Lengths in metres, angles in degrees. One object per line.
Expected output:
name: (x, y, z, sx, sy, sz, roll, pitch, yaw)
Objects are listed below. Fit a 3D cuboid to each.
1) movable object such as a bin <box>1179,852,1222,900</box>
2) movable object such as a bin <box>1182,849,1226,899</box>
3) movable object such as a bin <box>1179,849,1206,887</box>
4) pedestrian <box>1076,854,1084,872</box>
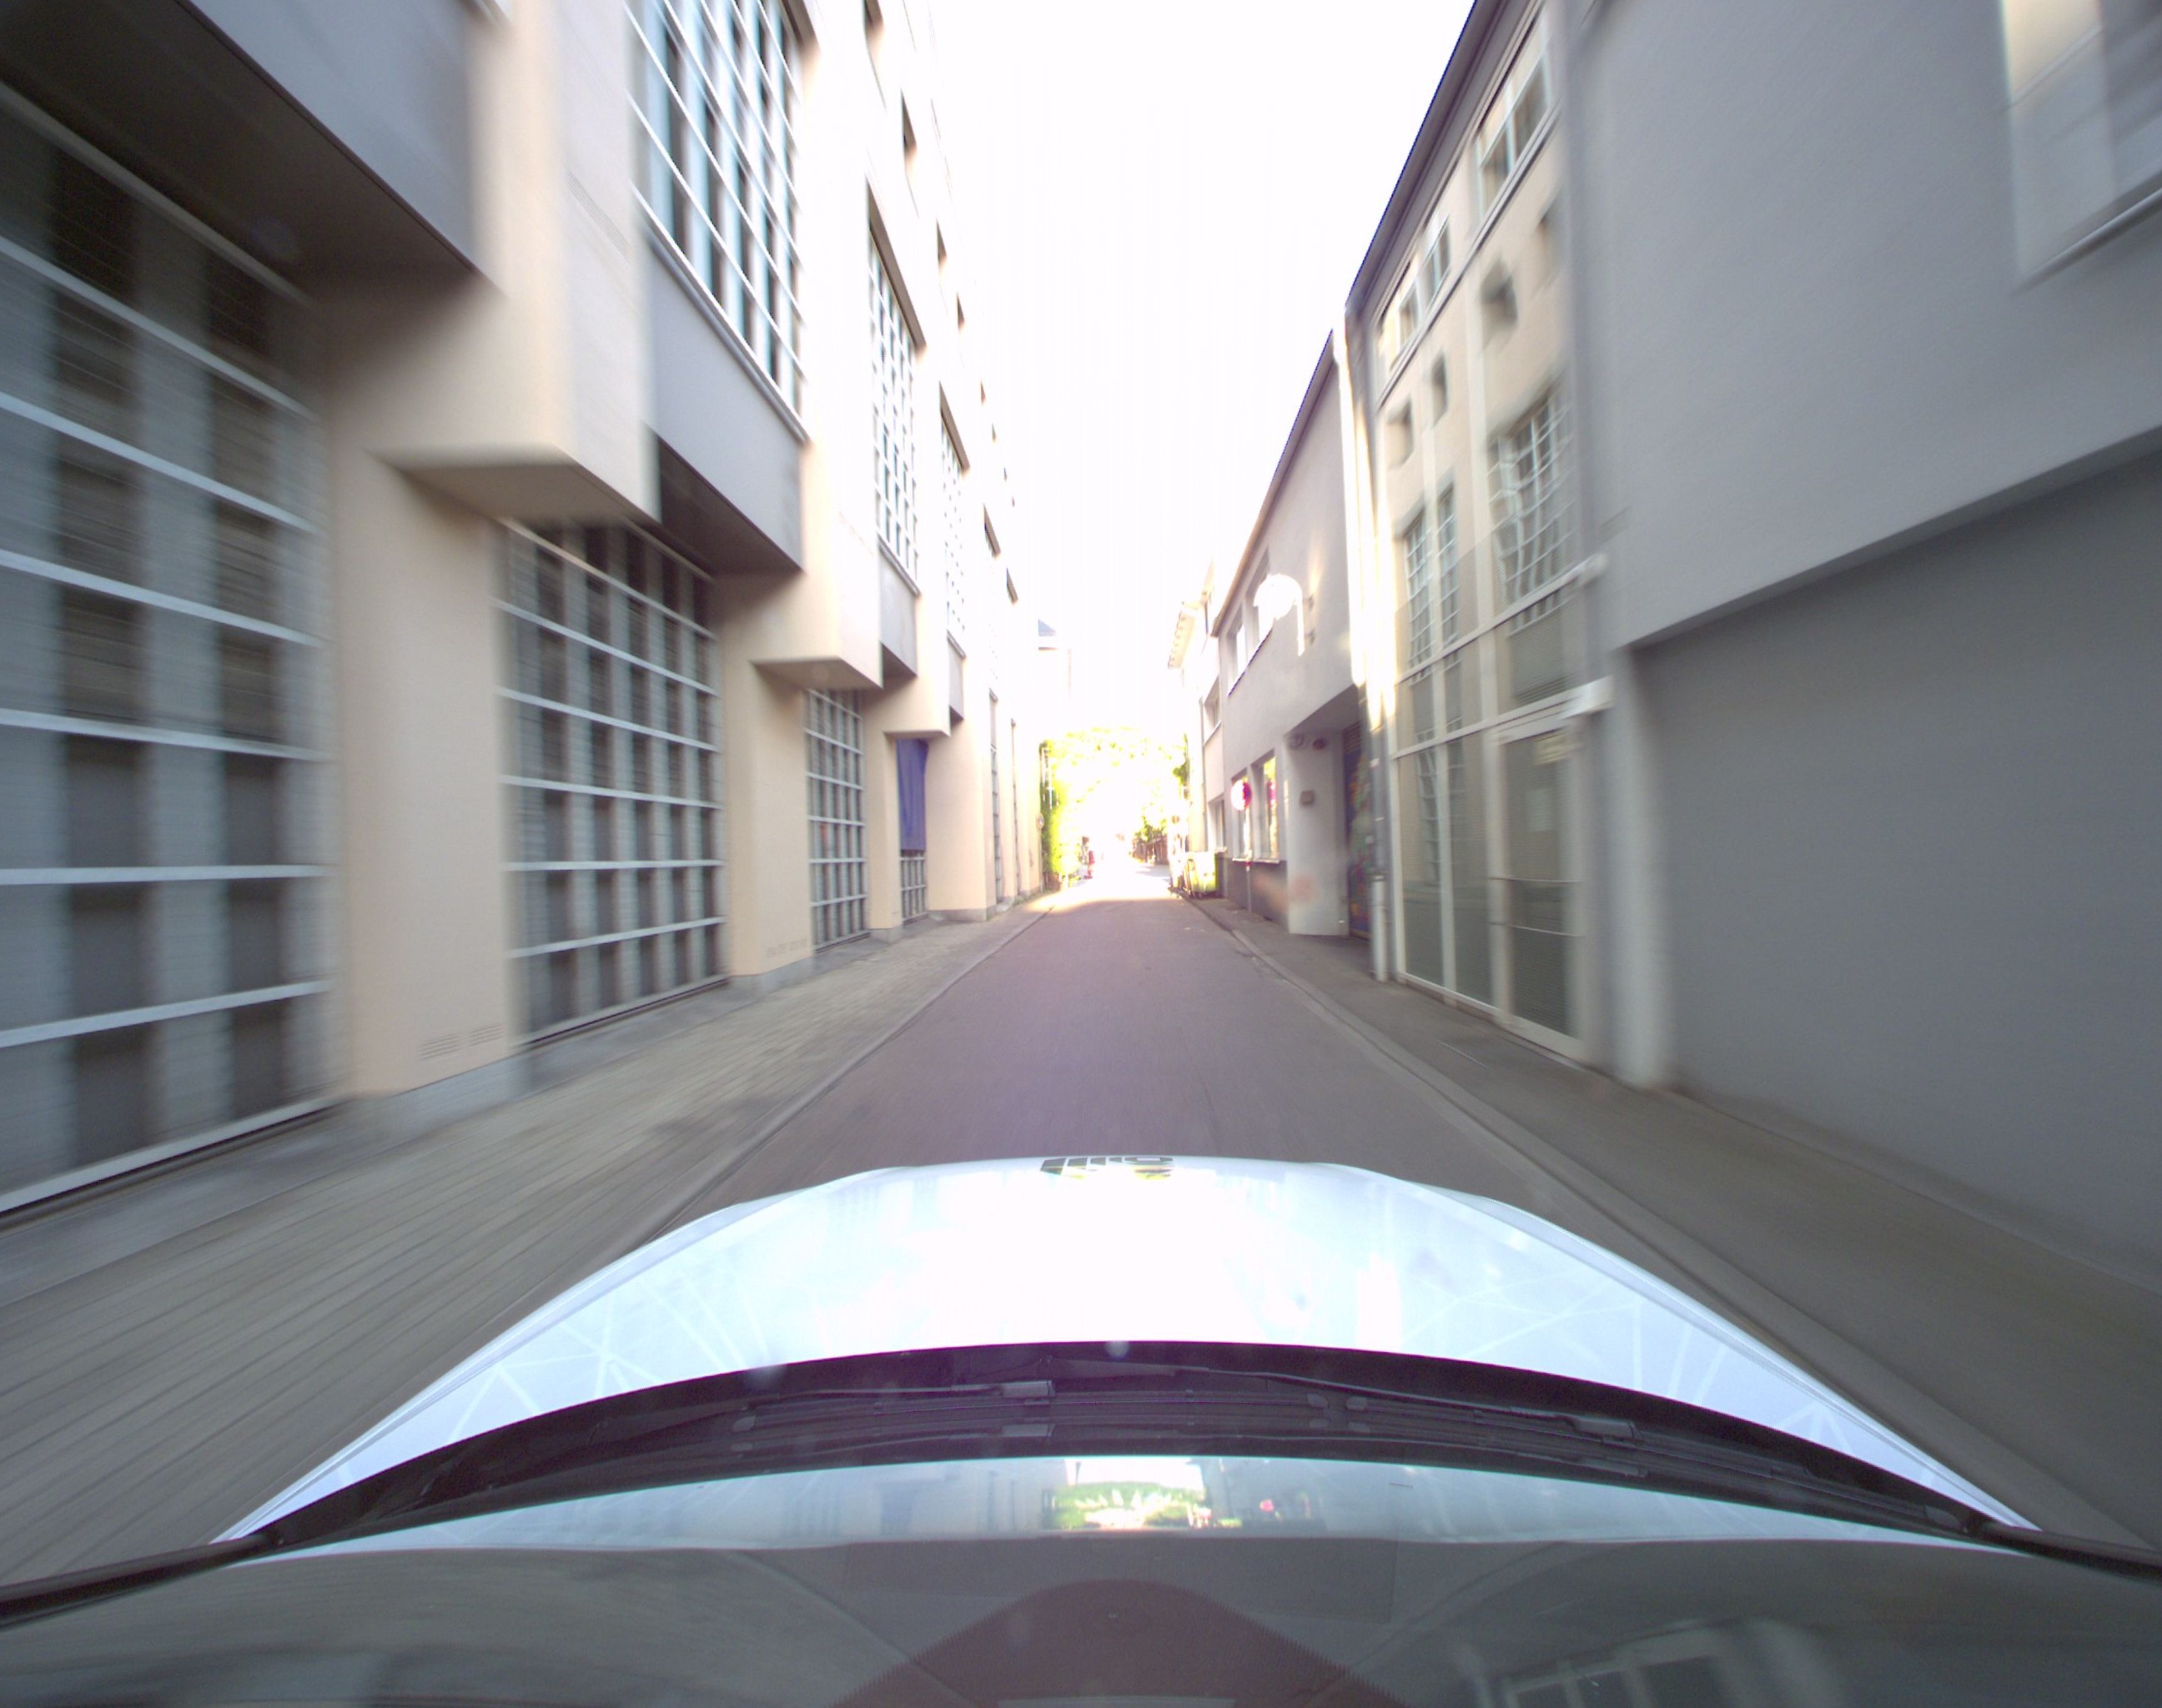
movable object such as a bin: (3.695, 0.657, 25.269, 1.061, 1.366, 1.342, -4, 0, 0)
movable object such as a bin: (3.593, 0.572, 23.867, 0.935, 1.366, 1.340, -4, 0, -4)
movable object such as a bin: (4.082, 0.508, 29.913, 0.831, 1.305, 1.292, -4, 0, 6)
pedestrian: (-0.134, 0.920, 80.719, 0.651, 1.764, 0.635, -3, -1, 6)
